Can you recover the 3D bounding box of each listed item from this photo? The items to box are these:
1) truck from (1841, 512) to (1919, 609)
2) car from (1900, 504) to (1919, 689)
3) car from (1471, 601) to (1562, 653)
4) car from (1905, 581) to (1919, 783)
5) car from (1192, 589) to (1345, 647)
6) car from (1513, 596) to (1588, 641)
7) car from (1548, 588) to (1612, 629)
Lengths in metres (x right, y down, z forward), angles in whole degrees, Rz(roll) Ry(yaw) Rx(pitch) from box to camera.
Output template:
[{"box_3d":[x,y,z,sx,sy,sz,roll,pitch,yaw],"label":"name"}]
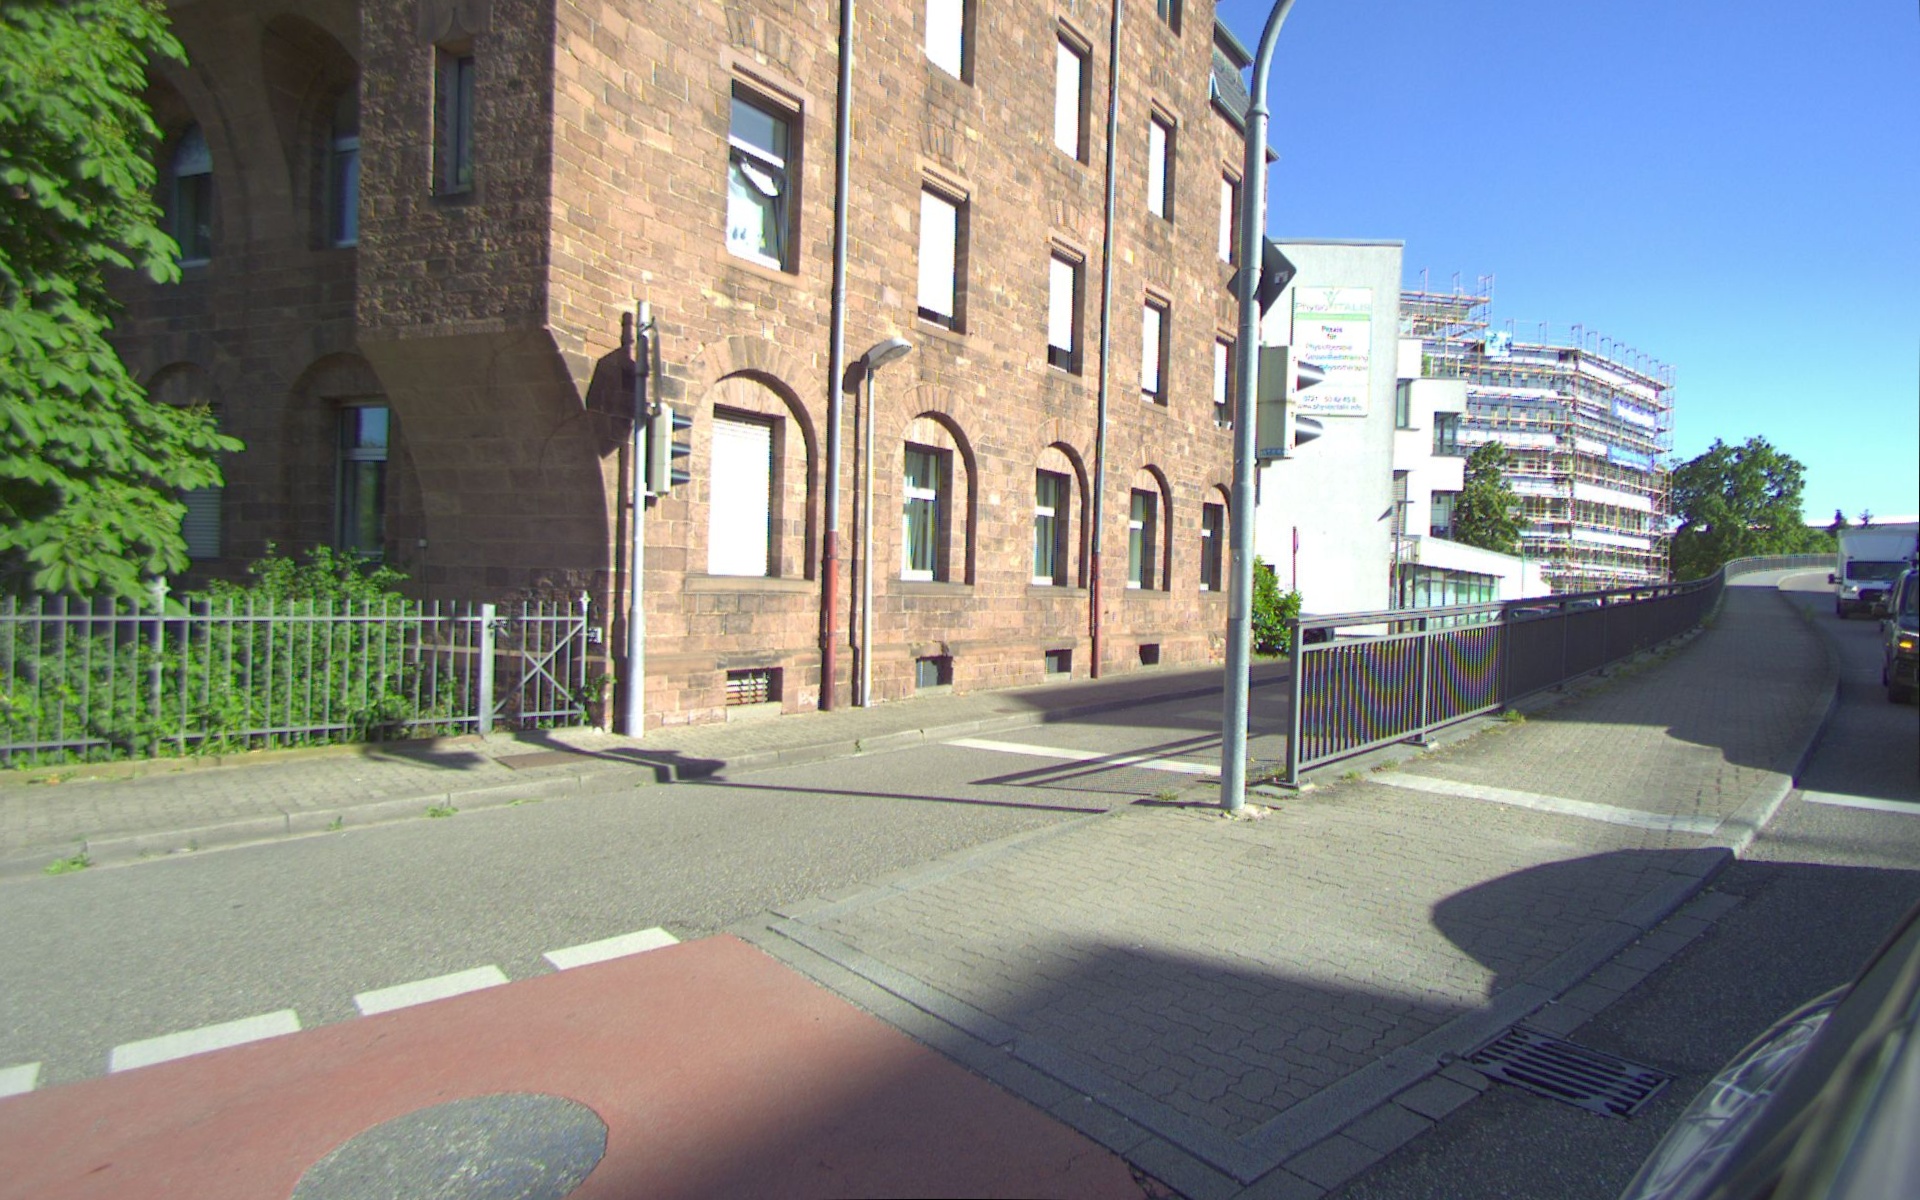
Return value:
[{"box_3d":[33.389,-1.314,36.392,2.495,3.167,6.855,2,1,41],"label":"truck"},{"box_3d":[14.088,0.017,13.677,1.945,2.290,4.710,2,1,43],"label":"car"},{"box_3d":[18.585,0.861,33.711,2.043,1.551,4.036,2,0,38],"label":"car"},{"box_3d":[9.285,0.620,8.494,1.875,1.489,4.562,3,2,44],"label":"car"},{"box_3d":[9.115,0.507,30.182,4.020,1.551,1.917,2,0,5],"label":"car"},{"box_3d":[22.676,0.680,38.793,2.043,1.551,4.037,2,0,37],"label":"car"},{"box_3d":[27.613,0.371,45.037,2.043,1.707,4.037,2,0,37],"label":"car"}]
